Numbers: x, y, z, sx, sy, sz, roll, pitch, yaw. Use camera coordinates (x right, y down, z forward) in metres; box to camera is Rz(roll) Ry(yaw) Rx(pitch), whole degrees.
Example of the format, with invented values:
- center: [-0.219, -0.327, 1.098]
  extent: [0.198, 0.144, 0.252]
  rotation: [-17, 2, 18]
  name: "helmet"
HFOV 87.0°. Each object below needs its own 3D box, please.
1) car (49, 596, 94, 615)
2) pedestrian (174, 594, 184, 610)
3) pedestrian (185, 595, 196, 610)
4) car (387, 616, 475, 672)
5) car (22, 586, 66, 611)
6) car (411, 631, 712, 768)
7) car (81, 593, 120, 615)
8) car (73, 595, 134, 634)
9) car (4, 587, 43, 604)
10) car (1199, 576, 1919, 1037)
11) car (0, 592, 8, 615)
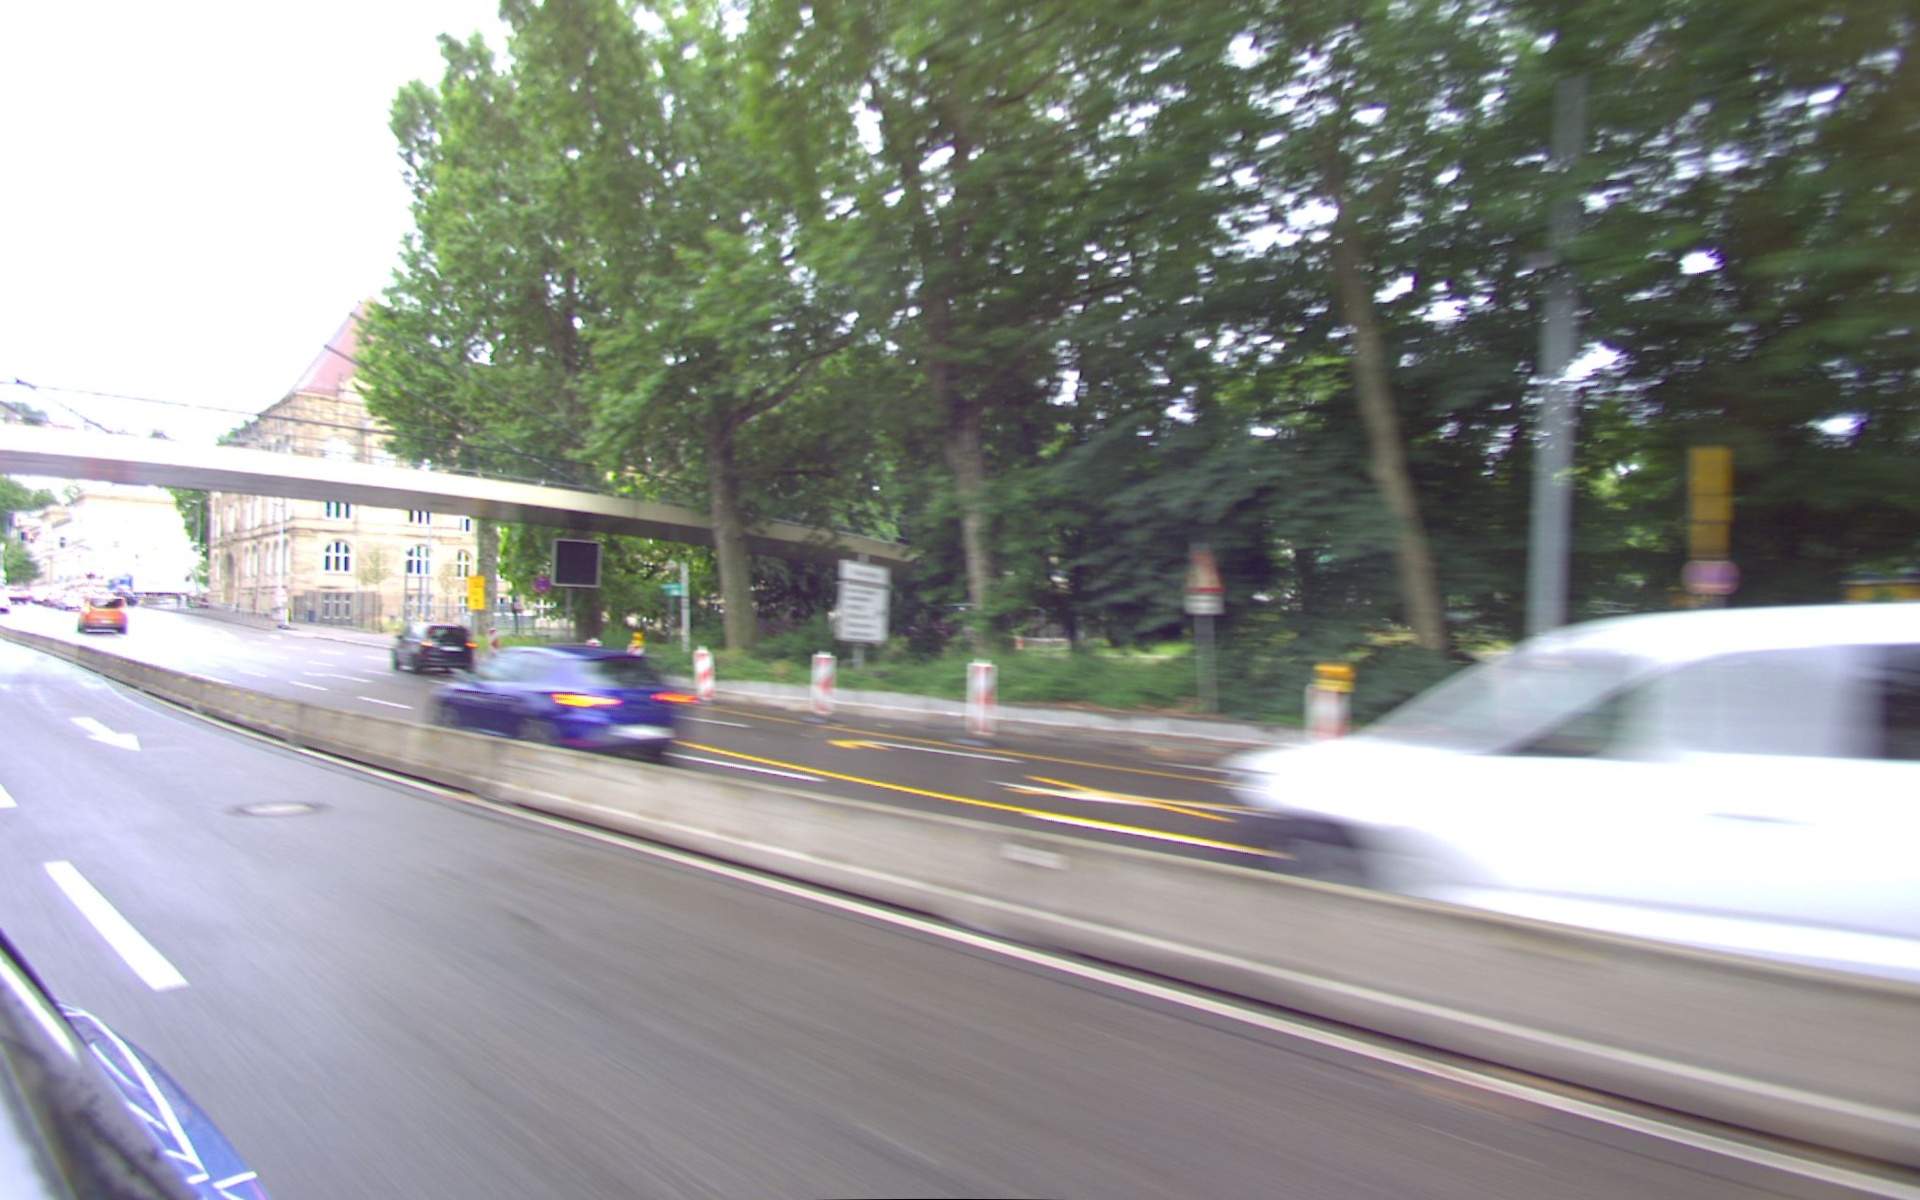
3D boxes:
- center: [-76.022, 0.494, 86.569]
  extent: [4.205, 1.393, 1.975]
  rotation: [2, -2, 37]
  name: "car"
- center: [-81.079, 0.177, 105.112]
  extent: [0.735, 1.596, 0.609]
  rotation: [2, -2, 43]
  name: "pedestrian"
- center: [-80.293, 0.264, 105.546]
  extent: [0.733, 1.596, 0.611]
  rotation: [2, -2, 35]
  name: "pedestrian"
- center: [-16.986, 1.406, 32.388]
  extent: [2.003, 1.666, 4.330]
  rotation: [2, -3, -34]
  name: "car"
- center: [-82.549, -0.127, 91.227]
  extent: [3.990, 2.029, 1.977]
  rotation: [2, -2, 35]
  name: "car"
- center: [-5.057, 1.150, 12.607]
  extent: [4.058, 1.349, 1.694]
  rotation: [0, -4, 40]
  name: "car"
- center: [-88.027, 0.390, 103.691]
  extent: [3.990, 2.029, 1.977]
  rotation: [2, -2, 35]
  name: "car"
- center: [-47.674, 0.783, 56.289]
  extent: [5.047, 1.951, 2.008]
  rotation: [2, -2, 45]
  name: "car"
- center: [-87.511, -0.435, 94.530]
  extent: [4.207, 1.393, 1.974]
  rotation: [2, -2, 38]
  name: "car"
- center: [3.835, 0.804, 4.686]
  extent: [4.902, 1.666, 2.012]
  rotation: [0, -3, 36]
  name: "car"
- center: [-72.043, 0.215, 74.825]
  extent: [4.896, 1.579, 1.874]
  rotation: [2, -2, 41]
  name: "car"
